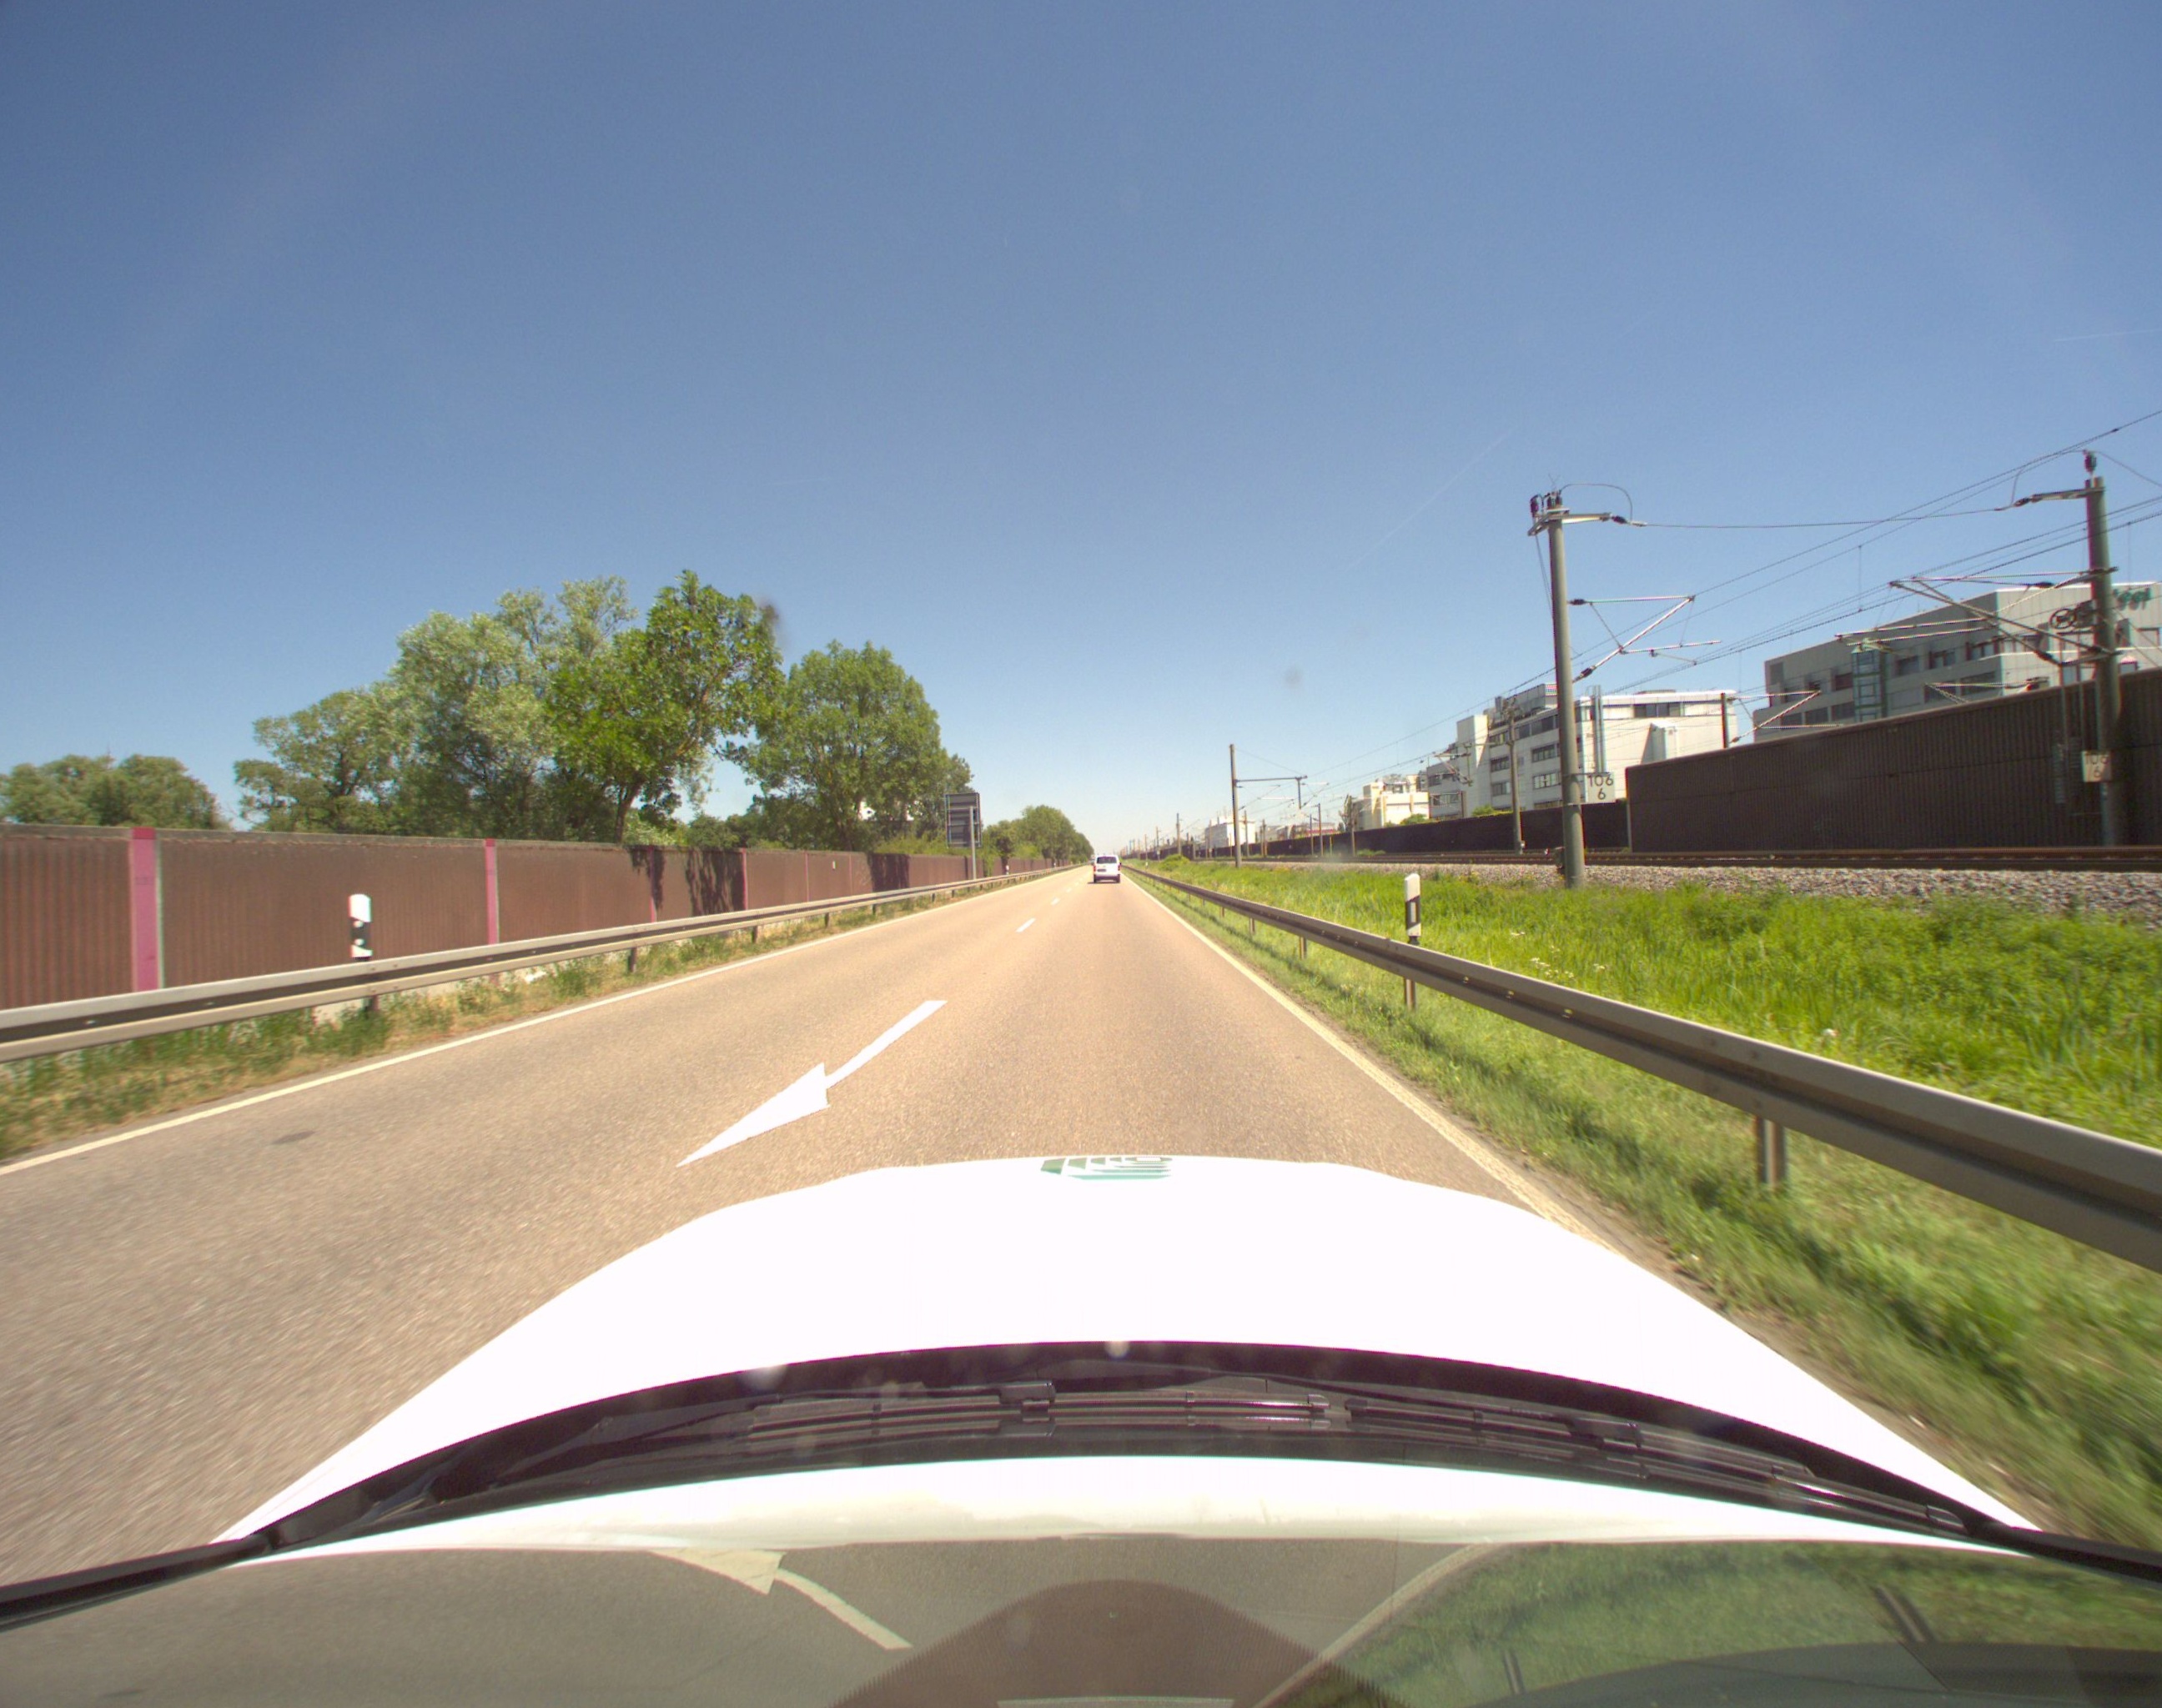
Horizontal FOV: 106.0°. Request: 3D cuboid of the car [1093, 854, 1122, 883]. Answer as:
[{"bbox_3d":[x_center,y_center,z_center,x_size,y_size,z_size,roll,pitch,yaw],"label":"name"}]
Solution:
[{"bbox_3d":[1.856,1.012,57.105,1.938,1.881,4.882,-1,-1,2],"label":"car"}]
